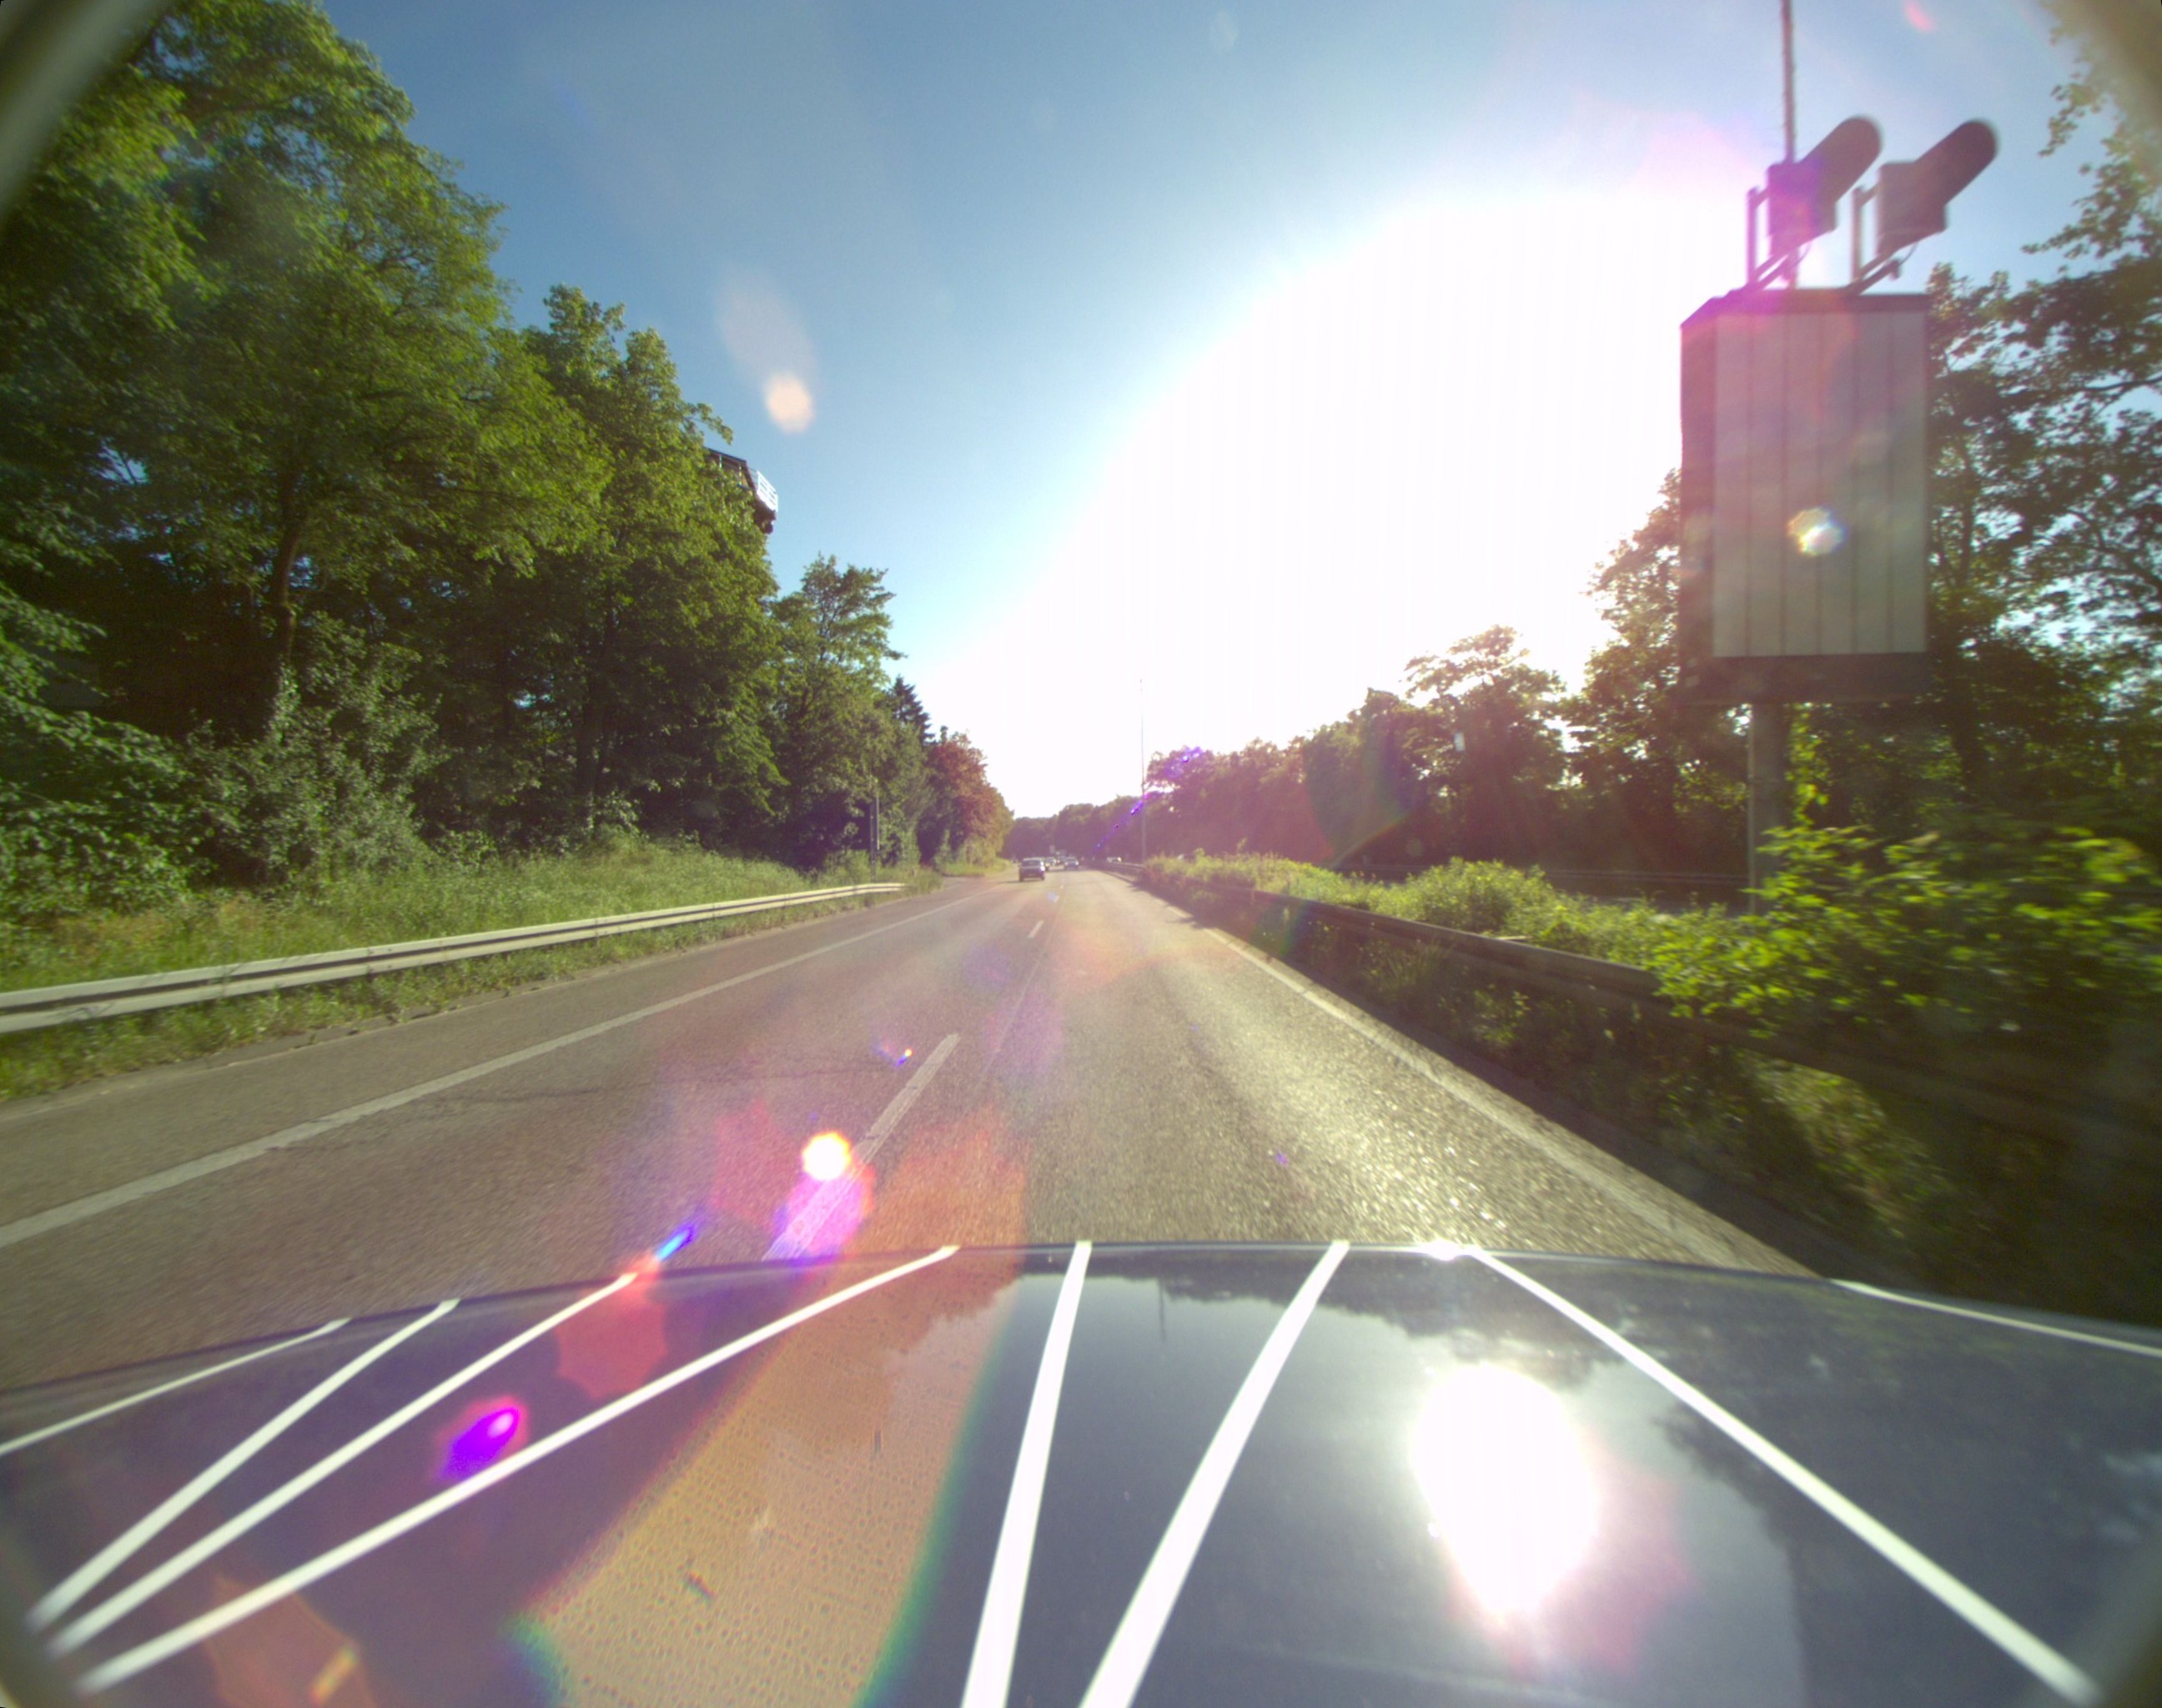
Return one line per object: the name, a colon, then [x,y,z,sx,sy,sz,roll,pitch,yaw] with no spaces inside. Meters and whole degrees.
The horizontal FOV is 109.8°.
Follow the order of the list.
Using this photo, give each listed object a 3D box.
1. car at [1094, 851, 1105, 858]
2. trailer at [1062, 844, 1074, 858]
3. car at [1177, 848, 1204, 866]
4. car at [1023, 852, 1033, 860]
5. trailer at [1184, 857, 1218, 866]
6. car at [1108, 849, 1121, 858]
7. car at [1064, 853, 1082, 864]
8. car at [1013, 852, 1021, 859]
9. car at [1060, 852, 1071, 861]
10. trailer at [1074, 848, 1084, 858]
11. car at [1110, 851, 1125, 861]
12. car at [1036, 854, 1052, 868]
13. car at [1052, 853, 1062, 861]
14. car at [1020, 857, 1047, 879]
car: [4.279,0.080,179.624,2.077,1.604,5.056,-2,0,-4]
trailer: [-3.951,-0.961,233.960,3.061,3.974,10.967,-2,0,-4]
car: [11.815,0.304,82.188,1.966,1.714,4.743,-2,0,-2]
car: [-12.857,0.463,183.804,2.000,1.761,3.996,-1,0,-10]
trailer: [11.999,0.705,76.351,2.264,0.736,6.330,-1,0,-2]
car: [6.681,-0.039,152.696,2.125,1.715,5.874,-3,0,-2]
car: [-1.099,0.560,99.548,1.905,1.453,4.353,-1,0,-6]
car: [-19.530,0.440,230.961,2.000,2.002,3.996,-2,0,-10]
car: [-2.723,0.466,130.760,1.801,1.453,4.355,-1,0,-2]
trailer: [-0.575,-0.312,186.307,1.999,2.423,4.604,-1,0,-5]
car: [5.757,0.268,120.107,1.966,1.458,4.875,-2,0,-2]
car: [-4.277,0.771,87.529,1.801,1.453,4.354,-1,1,-4]
car: [-4.612,0.618,144.146,1.801,1.453,4.401,-2,0,-2]
car: [-3.387,0.944,54.025,1.801,1.453,4.354,-1,0,-4]
